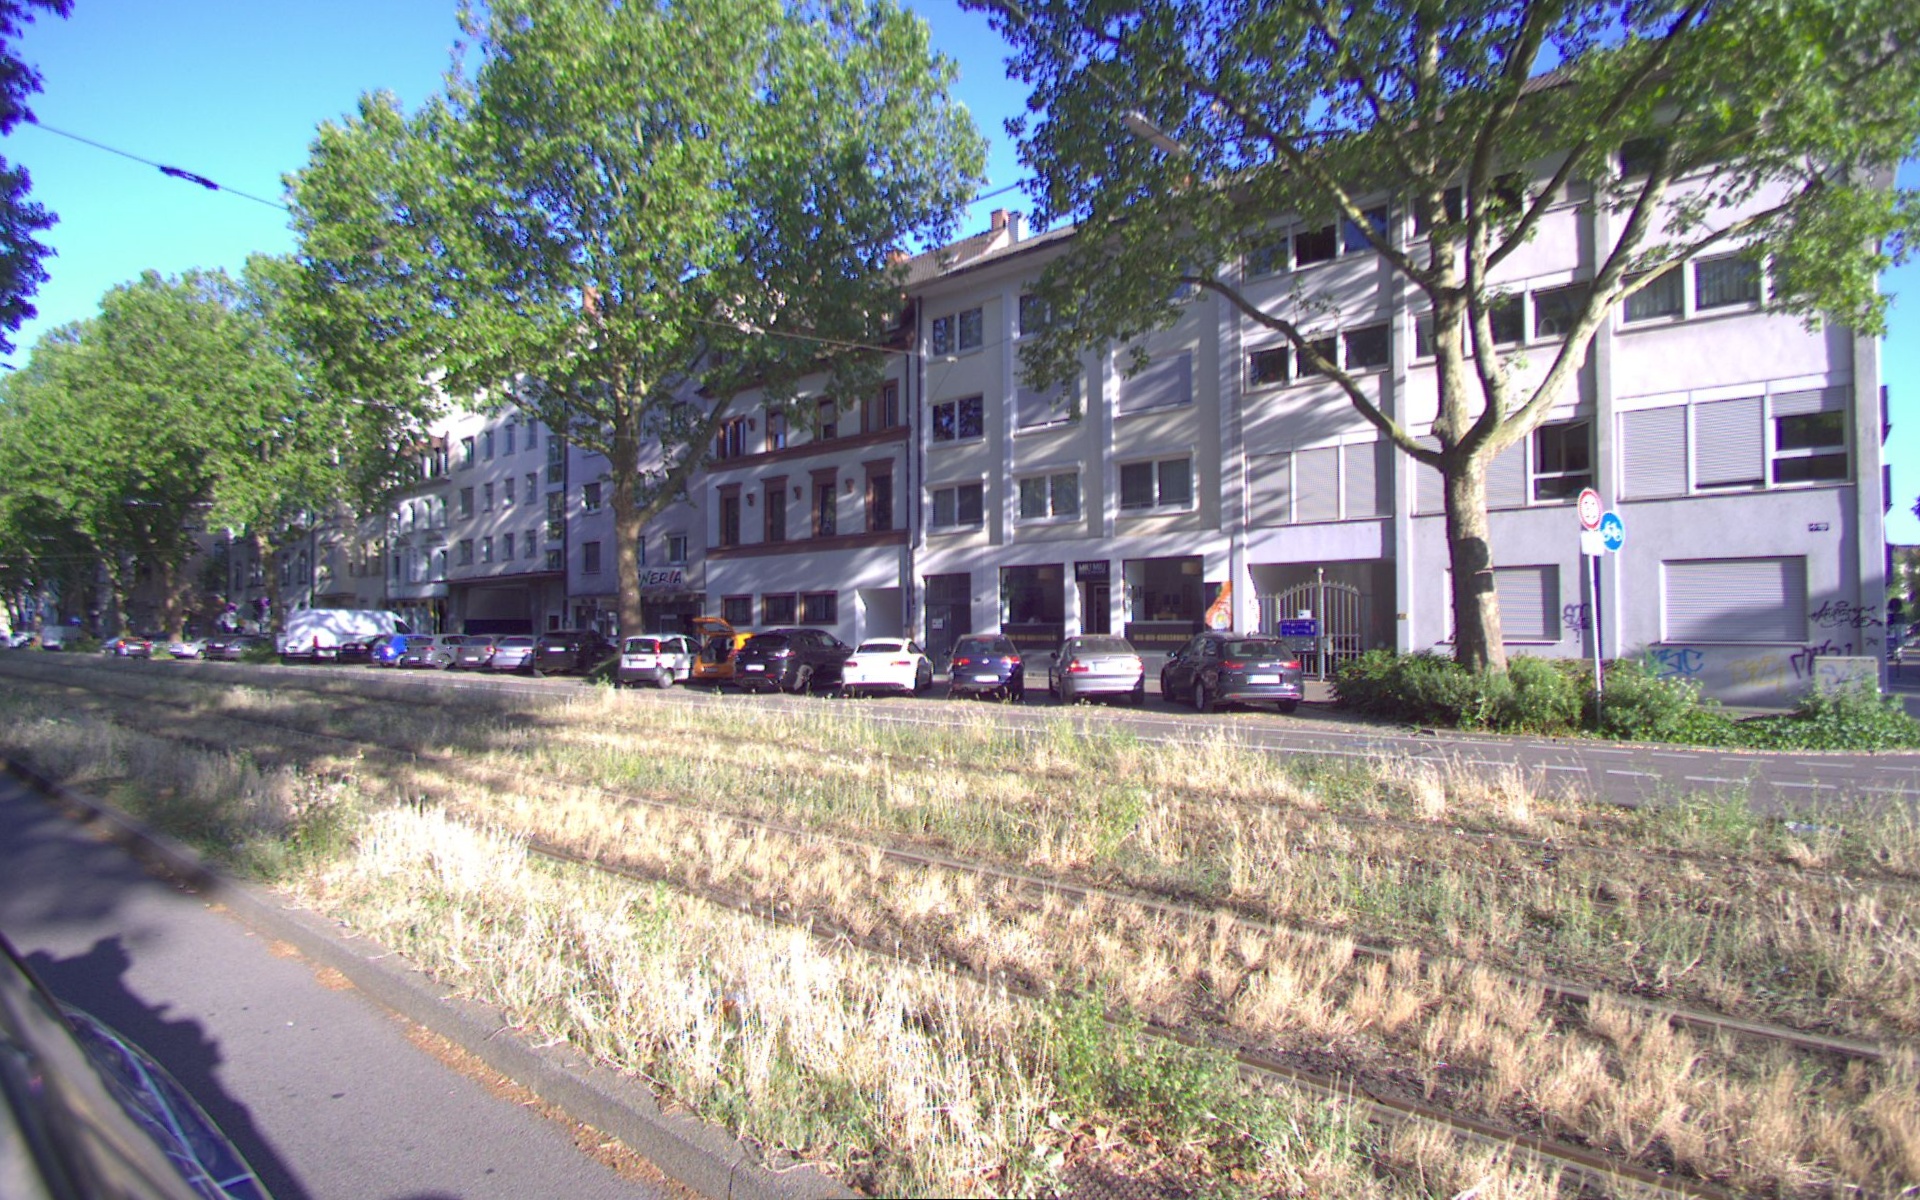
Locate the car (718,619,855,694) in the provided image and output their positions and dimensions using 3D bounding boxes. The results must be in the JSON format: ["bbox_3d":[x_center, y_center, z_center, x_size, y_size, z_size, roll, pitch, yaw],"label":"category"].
[{"bbox_3d":[-4.500,1.500,26.982,1.975,1.800,4.343,0,-3,14],"label":"car"}]

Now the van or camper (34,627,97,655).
[{"bbox_3d":[-86.115,3.907,97.542,2.171,2.418,4.363,-1,1,0],"label":"van or camper"}]

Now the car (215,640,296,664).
[{"bbox_3d":[-40.927,3.022,58.943,1.778,1.368,4.002,0,-3,3],"label":"car"}]

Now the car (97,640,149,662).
[{"bbox_3d":[-54.542,3.301,65.928,4.480,1.400,1.802,-2,-4,40],"label":"car"}]

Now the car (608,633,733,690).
[{"bbox_3d":[-8.491,1.764,30.085,1.643,1.460,4.344,-1,-1,14],"label":"car"}]

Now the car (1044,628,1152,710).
[{"bbox_3d":[2.841,1.392,21.629,1.698,1.452,4.000,-1,0,0],"label":"car"}]

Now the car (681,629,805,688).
[{"bbox_3d":[-6.390,1.680,30.176,1.764,1.490,3.973,-2,0,20],"label":"car"}]

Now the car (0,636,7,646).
[{"bbox_3d":[-139.763,5.970,146.818,4.000,1.431,1.972,-2,0,43],"label":"car"}]

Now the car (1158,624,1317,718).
[{"bbox_3d":[5.229,1.284,19.632,1.791,1.490,4.002,-1,0,-2],"label":"car"}]

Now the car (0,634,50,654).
[{"bbox_3d":[-105.112,4.980,113.867,1.971,2.029,4.002,-1,0,-2],"label":"car"}]

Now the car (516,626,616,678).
[{"bbox_3d":[-13.694,1.761,35.425,1.972,1.673,4.000,-1,-1,-1],"label":"car"}]

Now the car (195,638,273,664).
[{"bbox_3d":[-45.637,3.216,63.688,1.803,1.545,3.994,0,-3,5],"label":"car"}]

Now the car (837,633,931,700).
[{"bbox_3d":[-1.780,1.587,25.057,1.700,1.343,4.200,-1,0,4],"label":"car"}]

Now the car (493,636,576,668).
[{"bbox_3d":[-24.103,2.899,57.404,1.904,1.733,3.947,-2,-2,39],"label":"car"}]

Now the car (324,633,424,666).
[{"bbox_3d":[-28.704,2.414,49.713,1.984,1.502,3.975,-1,-3,19],"label":"car"}]

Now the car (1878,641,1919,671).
[{"bbox_3d":[65.490,3.876,70.592,1.999,2.029,3.944,-2,-2,42],"label":"car"}]

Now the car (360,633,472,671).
[{"bbox_3d":[-23.945,2.246,44.635,1.854,1.431,3.951,-2,0,36],"label":"car"}]

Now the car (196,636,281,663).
[{"bbox_3d":[-43.448,3.017,61.053,1.912,1.605,4.155,0,-4,4],"label":"car"}]

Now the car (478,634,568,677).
[{"bbox_3d":[-16.299,2.035,37.975,1.883,1.396,4.004,-1,-1,-4],"label":"car"}]

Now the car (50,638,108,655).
[{"bbox_3d":[-83.809,4.422,96.329,1.709,1.256,3.993,-2,1,6],"label":"car"}]

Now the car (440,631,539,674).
[{"bbox_3d":[-18.532,2.050,40.092,1.735,1.433,3.992,-1,0,6],"label":"car"}]

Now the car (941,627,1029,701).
[{"bbox_3d":[0.509,1.453,24.042,1.776,1.452,4.002,-1,0,-2],"label":"car"}]

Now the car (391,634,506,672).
[{"bbox_3d":[-21.585,2.218,42.868,1.941,1.503,3.963,-1,-2,27],"label":"car"}]

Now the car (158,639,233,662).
[{"bbox_3d":[-49.686,3.295,65.868,1.806,1.400,3.670,-1,-2,9],"label":"car"}]

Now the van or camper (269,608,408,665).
[{"bbox_3d":[-31.071,1.806,50.836,2.162,2.666,5.928,-1,-2,20],"label":"van or camper"}]
